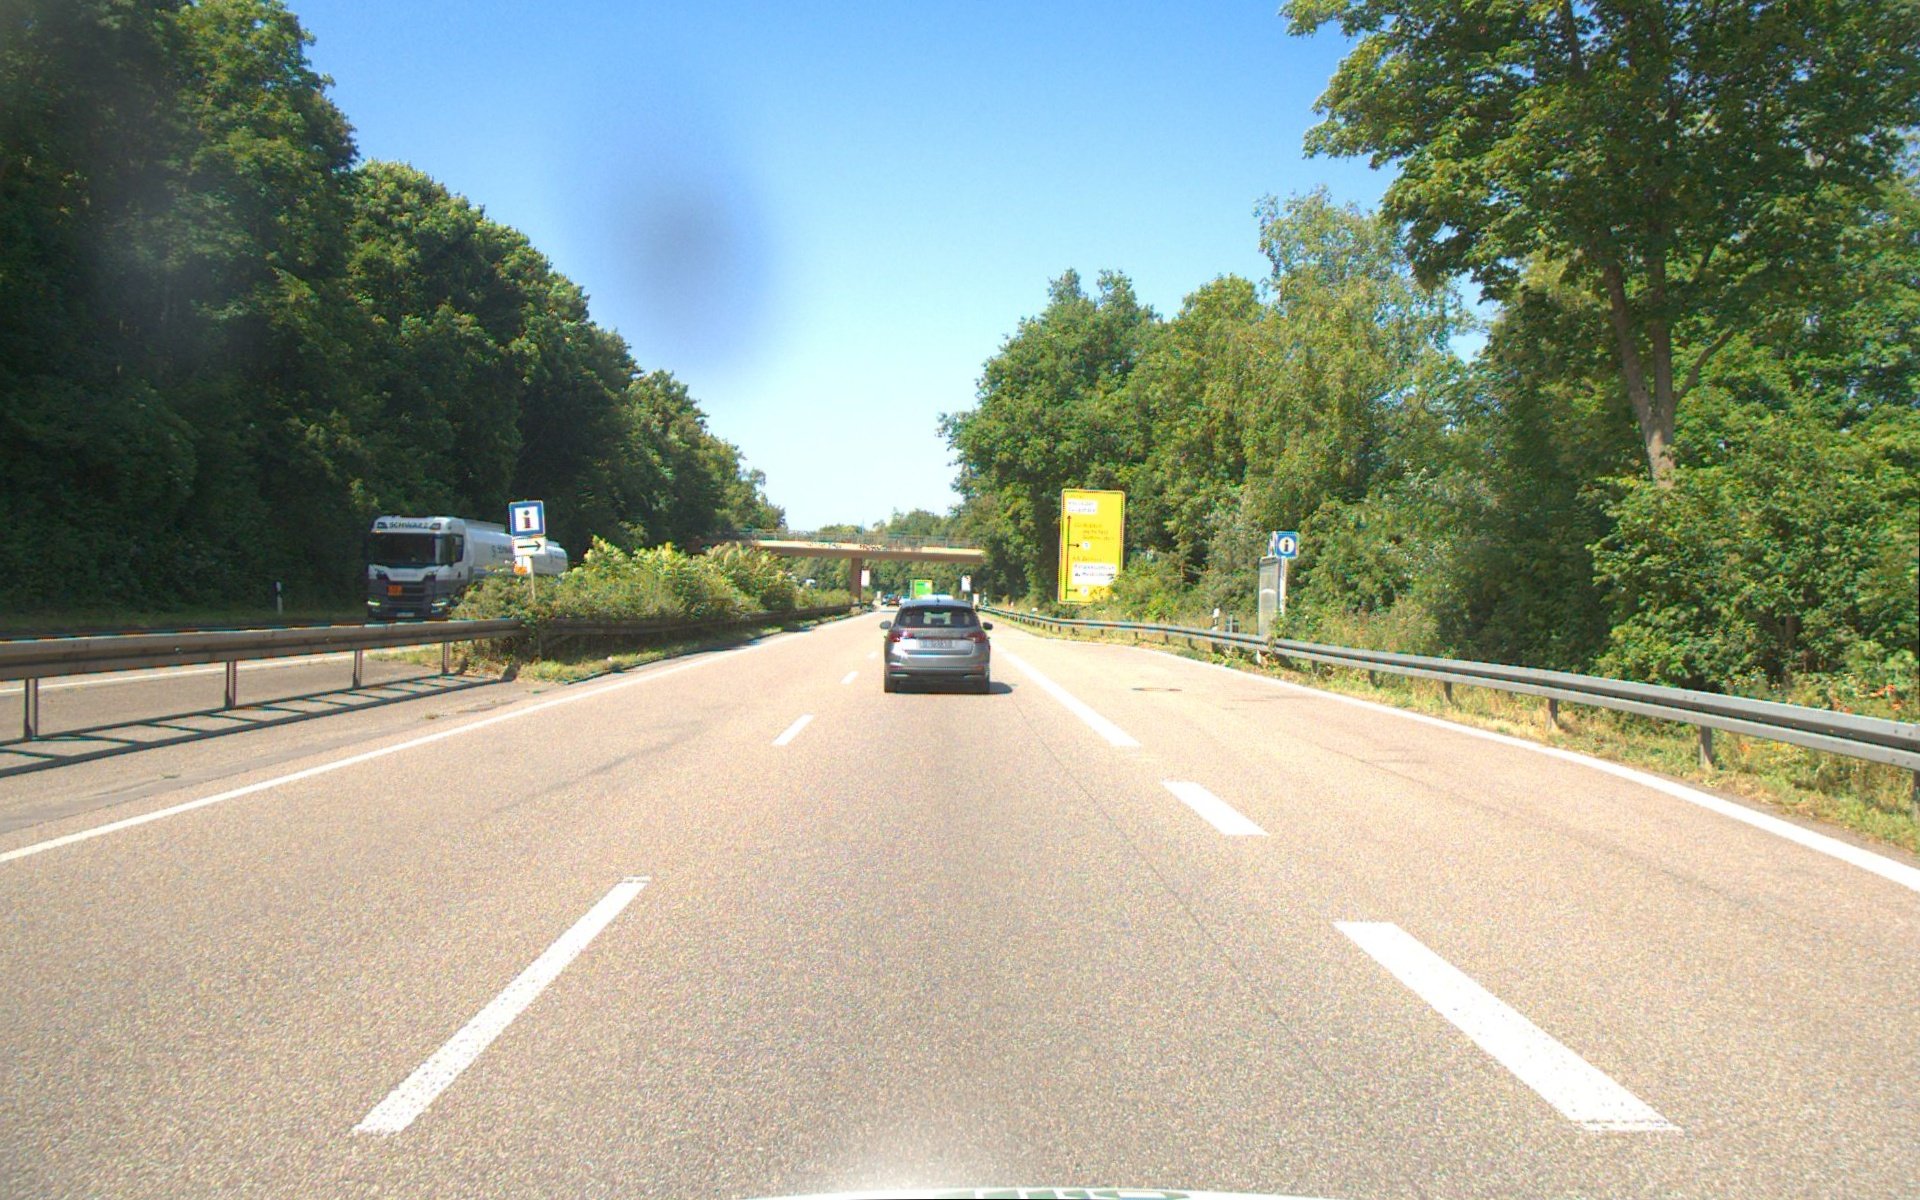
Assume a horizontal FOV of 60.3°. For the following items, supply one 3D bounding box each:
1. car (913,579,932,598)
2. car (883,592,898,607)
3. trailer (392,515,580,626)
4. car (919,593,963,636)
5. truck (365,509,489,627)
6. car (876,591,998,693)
[{"bbox_3d":[-5.444,-1.653,240.479,2.693,2.700,3.999,1,0,-1],"label":"car"},{"bbox_3d":[-9.962,-0.121,236.228,1.953,2.049,3.999,1,0,-1],"label":"car"},{"bbox_3d":[-15.926,-0.892,57.000,2.442,3.292,14.429,1,0,-1],"label":"trailer"},{"bbox_3d":[-0.667,0.502,59.799,1.491,1.472,3.340,1,0,1],"label":"car"},{"bbox_3d":[-15.843,-0.918,49.375,2.376,3.315,3.999,1,0,-1],"label":"truck"},{"bbox_3d":[-0.328,0.618,26.656,1.802,1.497,3.624,1,0,1],"label":"car"}]
